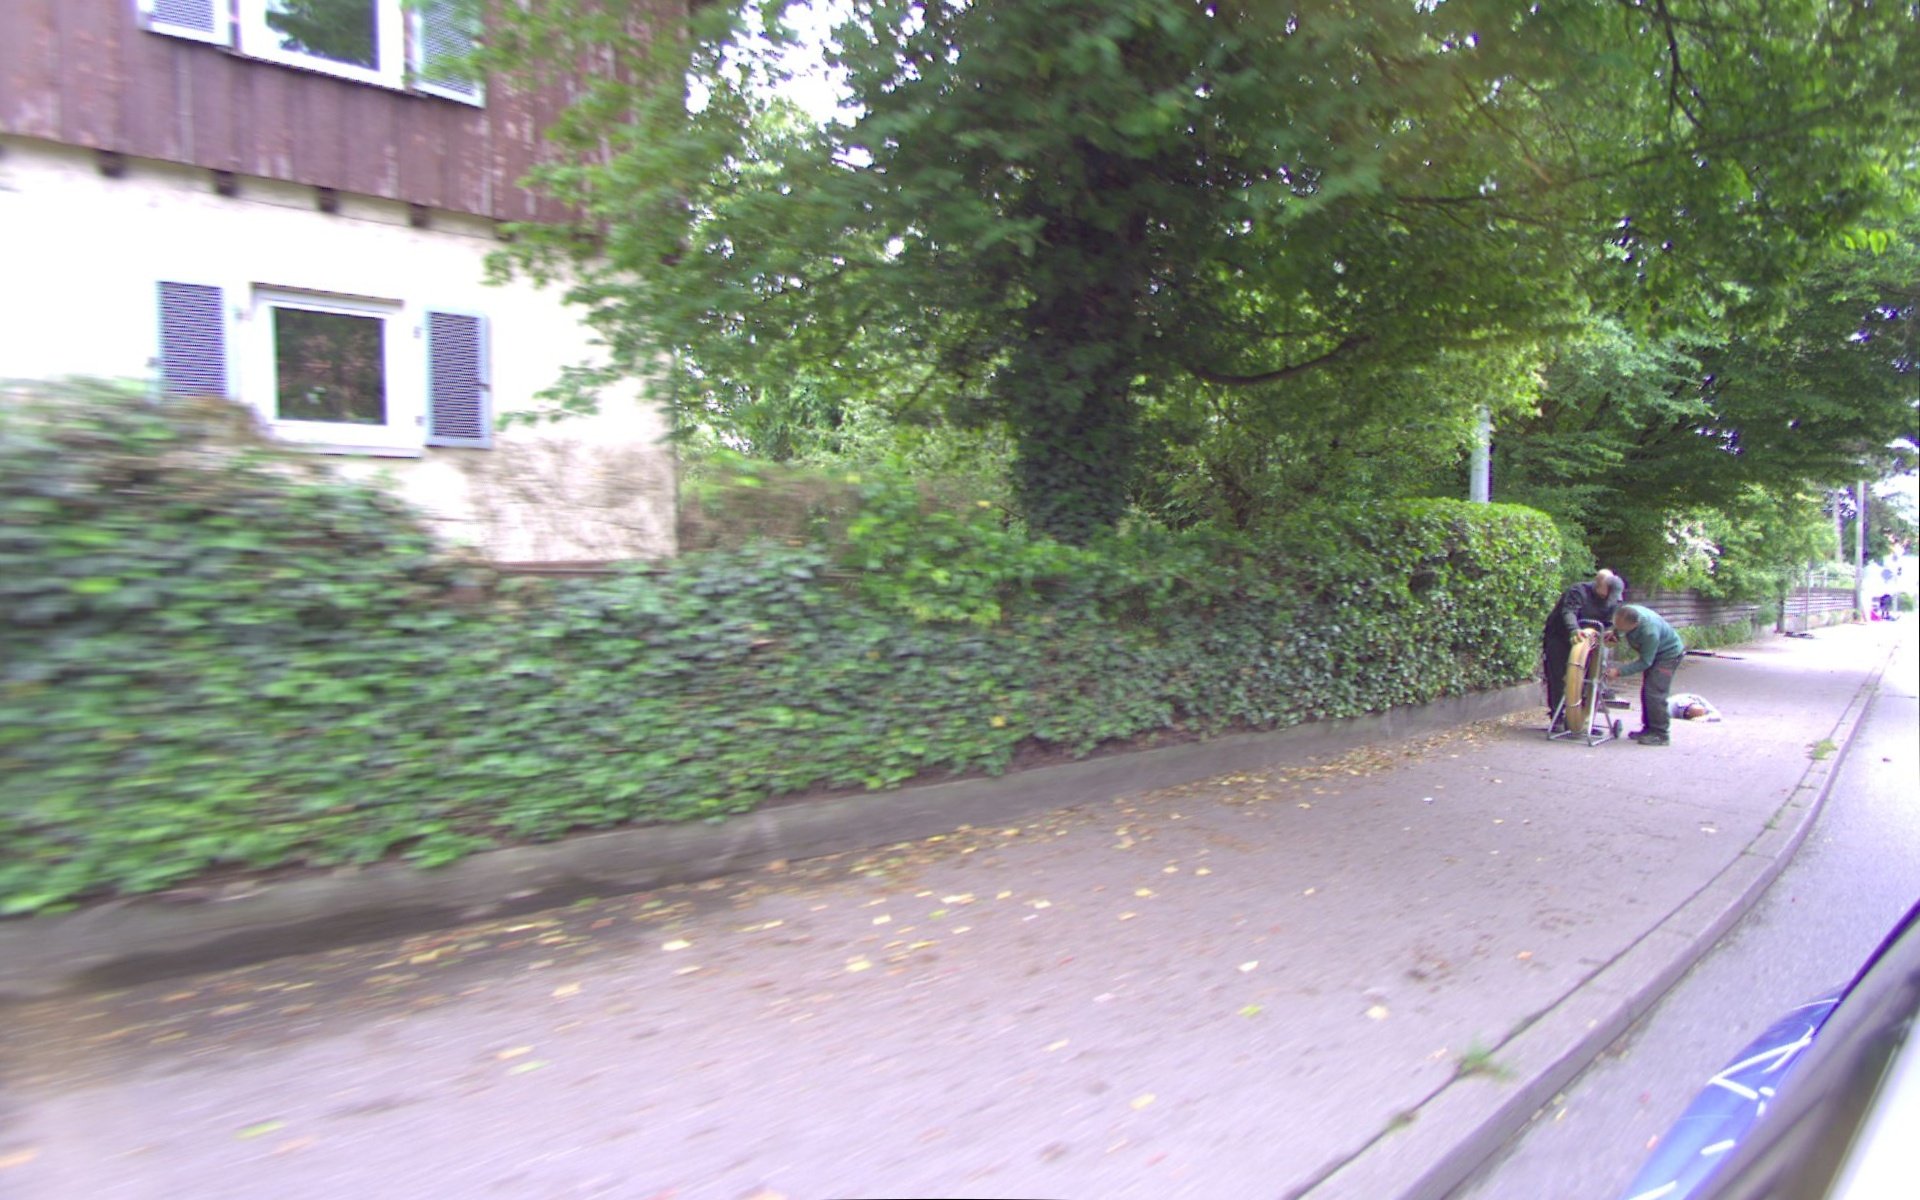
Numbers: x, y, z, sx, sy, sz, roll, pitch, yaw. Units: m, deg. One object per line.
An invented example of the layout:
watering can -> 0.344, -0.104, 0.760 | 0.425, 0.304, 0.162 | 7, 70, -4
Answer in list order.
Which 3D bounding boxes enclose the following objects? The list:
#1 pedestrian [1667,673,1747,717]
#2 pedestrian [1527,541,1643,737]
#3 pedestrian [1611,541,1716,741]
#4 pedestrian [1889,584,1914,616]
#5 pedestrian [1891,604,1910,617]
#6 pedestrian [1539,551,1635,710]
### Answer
pedestrian -> 8.791, 1.112, 11.908 | 0.672, 0.398, 0.729 | 2, 2, 44
pedestrian -> 6.090, 0.361, 9.892 | 0.678, 1.829, 0.673 | 1, 1, 4
pedestrian -> 6.662, 0.370, 9.606 | 0.508, 1.829, 0.603 | 1, 1, -5
pedestrian -> 58.226, 0.009, 62.596 | 0.840, 1.947, 0.794 | 2, 1, 25
pedestrian -> 57.498, 0.642, 61.868 | 0.635, 0.705, 0.584 | 1, 1, 4
pedestrian -> 7.580, 0.339, 12.236 | 0.807, 1.829, 0.729 | 2, 1, 44
